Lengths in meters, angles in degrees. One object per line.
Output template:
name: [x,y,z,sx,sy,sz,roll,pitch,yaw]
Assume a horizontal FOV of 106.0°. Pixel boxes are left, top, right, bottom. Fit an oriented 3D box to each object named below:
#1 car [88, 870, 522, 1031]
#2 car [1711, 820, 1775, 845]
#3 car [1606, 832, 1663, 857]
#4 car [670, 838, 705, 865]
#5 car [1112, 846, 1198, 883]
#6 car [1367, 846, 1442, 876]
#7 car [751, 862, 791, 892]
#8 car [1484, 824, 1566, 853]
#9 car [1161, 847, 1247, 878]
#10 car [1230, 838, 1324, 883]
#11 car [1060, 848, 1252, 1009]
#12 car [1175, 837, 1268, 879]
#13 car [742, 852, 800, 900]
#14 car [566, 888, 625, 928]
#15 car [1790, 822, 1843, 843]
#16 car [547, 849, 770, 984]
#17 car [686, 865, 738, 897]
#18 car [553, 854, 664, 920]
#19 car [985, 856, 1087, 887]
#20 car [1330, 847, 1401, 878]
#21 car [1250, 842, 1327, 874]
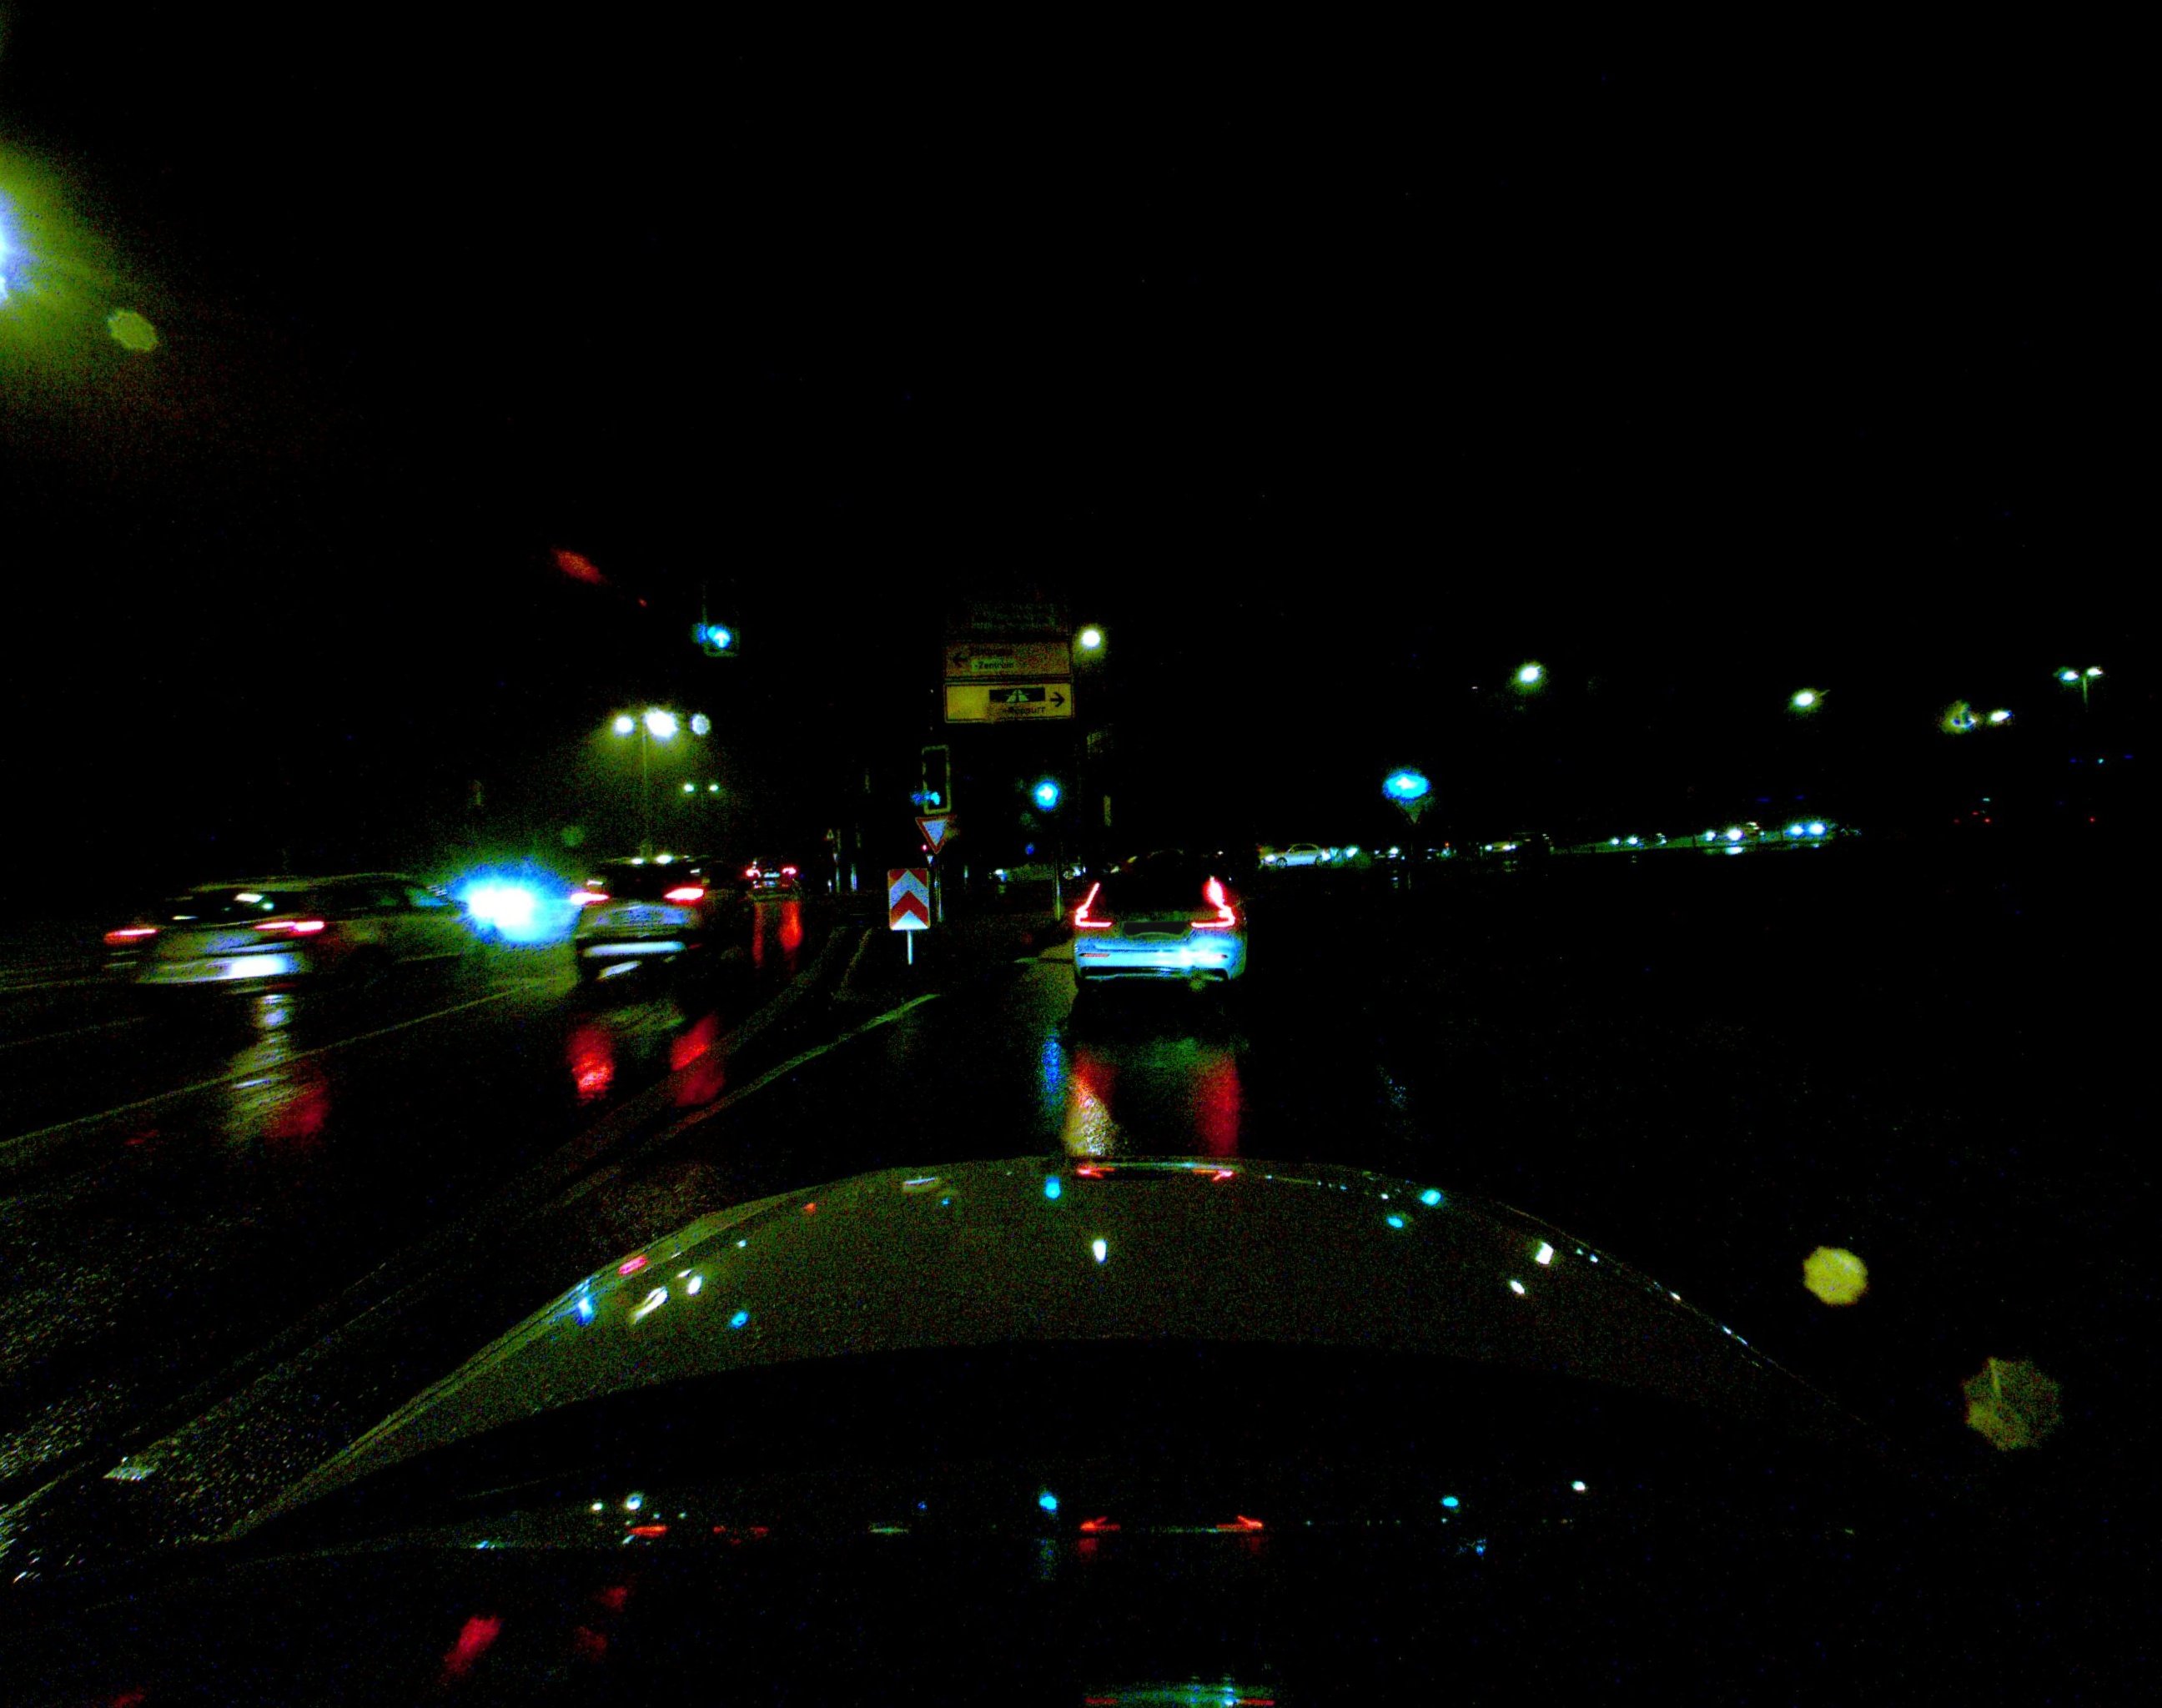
car: [-8.881,0.958,9.955,1.736,1.436,4.275,0,0,-10]
car: [46.691,-1.499,57.420,4.314,1.578,1.803,-2,-1,-26]
car: [42.746,-0.690,62.885,4.006,1.849,1.814,0,-1,-25]
car: [-31.280,-0.169,64.825,1.779,2.079,3.978,0,-1,-16]
car: [3.969,0.548,43.791,4.292,1.848,1.751,-1,-1,-25]
car: [18.745,0.392,47.204,3.983,1.666,1.789,-1,-1,-25]
car: [-16.467,1.193,43.356,1.704,1.463,4.288,-2,-1,-18]
car: [25.151,-0.891,46.139,4.418,1.483,1.769,-2,1,-24]
car: [6.291,0.442,41.639,4.060,1.487,1.706,-1,-1,-21]
car: [12.460,0.367,51.697,5.617,2.710,2.238,-1,-1,-24]
car: [1.119,0.695,9.806,1.784,1.452,4.283,-1,1,11]
car: [6.545,0.174,37.946,3.906,1.725,1.752,-2,0,-23]
car: [-11.771,0.771,30.741,1.836,1.653,4.444,0,0,-24]
car: [-27.261,3.001,45.877,1.816,2.014,3.980,-1,-1,-15]
car: [61.727,-1.798,68.325,4.497,1.666,1.788,0,0,-27]
car: [-5.880,0.772,11.897,1.852,1.591,4.006,-1,-1,-12]
car: [-18.014,1.285,39.866,1.658,1.445,3.772,-2,-1,-15]
car: [-13.308,0.888,23.207,1.915,1.658,3.961,-2,-1,-18]
car: [-2.263,0.855,40.936,4.810,1.427,1.751,-1,-1,-24]
car: [17.608,0.504,50.375,4.131,1.848,1.751,-1,-1,-25]
car: [12.196,0.233,47.865,4.257,1.799,1.789,-1,-1,-25]
